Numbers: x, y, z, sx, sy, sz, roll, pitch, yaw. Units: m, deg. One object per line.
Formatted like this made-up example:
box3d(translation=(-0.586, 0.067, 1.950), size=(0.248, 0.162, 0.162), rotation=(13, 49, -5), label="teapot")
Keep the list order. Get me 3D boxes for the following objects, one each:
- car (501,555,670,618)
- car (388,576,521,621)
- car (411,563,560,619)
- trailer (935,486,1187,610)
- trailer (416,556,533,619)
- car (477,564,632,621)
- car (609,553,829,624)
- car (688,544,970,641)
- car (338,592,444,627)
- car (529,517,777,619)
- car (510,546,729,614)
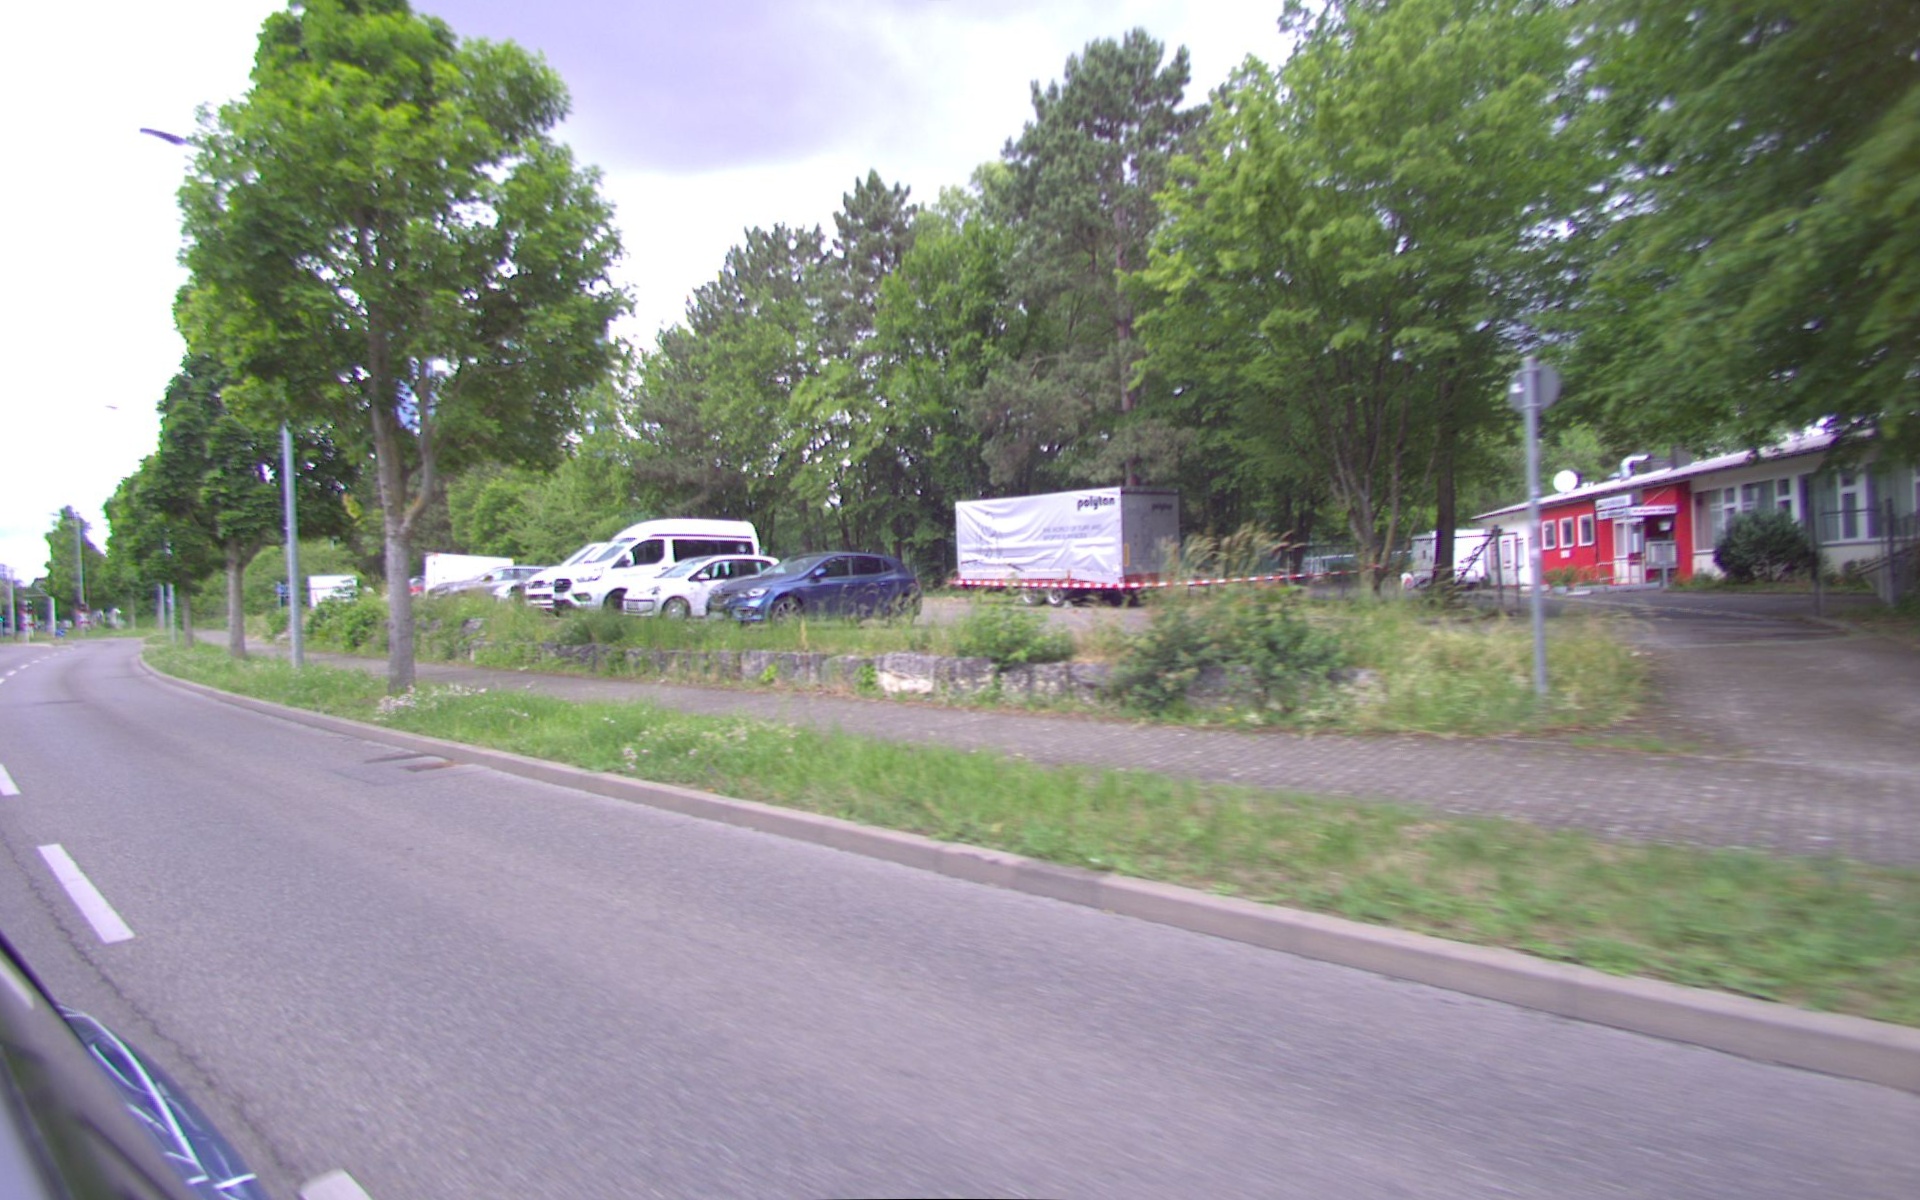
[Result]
box3d(translation=(-10.493, -0.382, 28.453), size=(3.983, 1.559, 2.004), rotation=(-3, 1, -39), label="car")
box3d(translation=(-18.448, -0.069, 36.986), size=(3.983, 1.428, 2.004), rotation=(-3, 1, -39), label="car")
box3d(translation=(-15.432, -0.305, 32.981), size=(3.983, 1.596, 2.004), rotation=(-3, 1, -39), label="car")
box3d(translation=(2.646, -1.361, 28.797), size=(2.616, 3.097, 7.204), rotation=(-3, 2, -42), label="trailer")
box3d(translation=(-16.822, -0.451, 35.098), size=(3.323, 2.073, 1.681), rotation=(-2, 0, -38), label="trailer")
box3d(translation=(-12.254, -0.235, 30.704), size=(3.983, 1.523, 1.784), rotation=(-3, 1, -39), label="car")
box3d(translation=(-5.062, -0.278, 21.636), size=(4.326, 1.326, 1.564), rotation=(-3, 1, -43), label="car")
box3d(translation=(-2.325, -0.202, 19.101), size=(5.095, 1.573, 1.888), rotation=(-3, 1, -43), label="car")
box3d(translation=(-26.420, 0.429, 47.031), size=(3.983, 1.428, 2.004), rotation=(-3, 1, -39), label="car")
box3d(translation=(-7.166, -0.766, 23.976), size=(5.095, 2.122, 2.217), rotation=(-3, 1, -43), label="car")
box3d(translation=(-8.809, -0.544, 26.411), size=(4.931, 1.559, 2.101), rotation=(-3, 1, -39), label="car")
